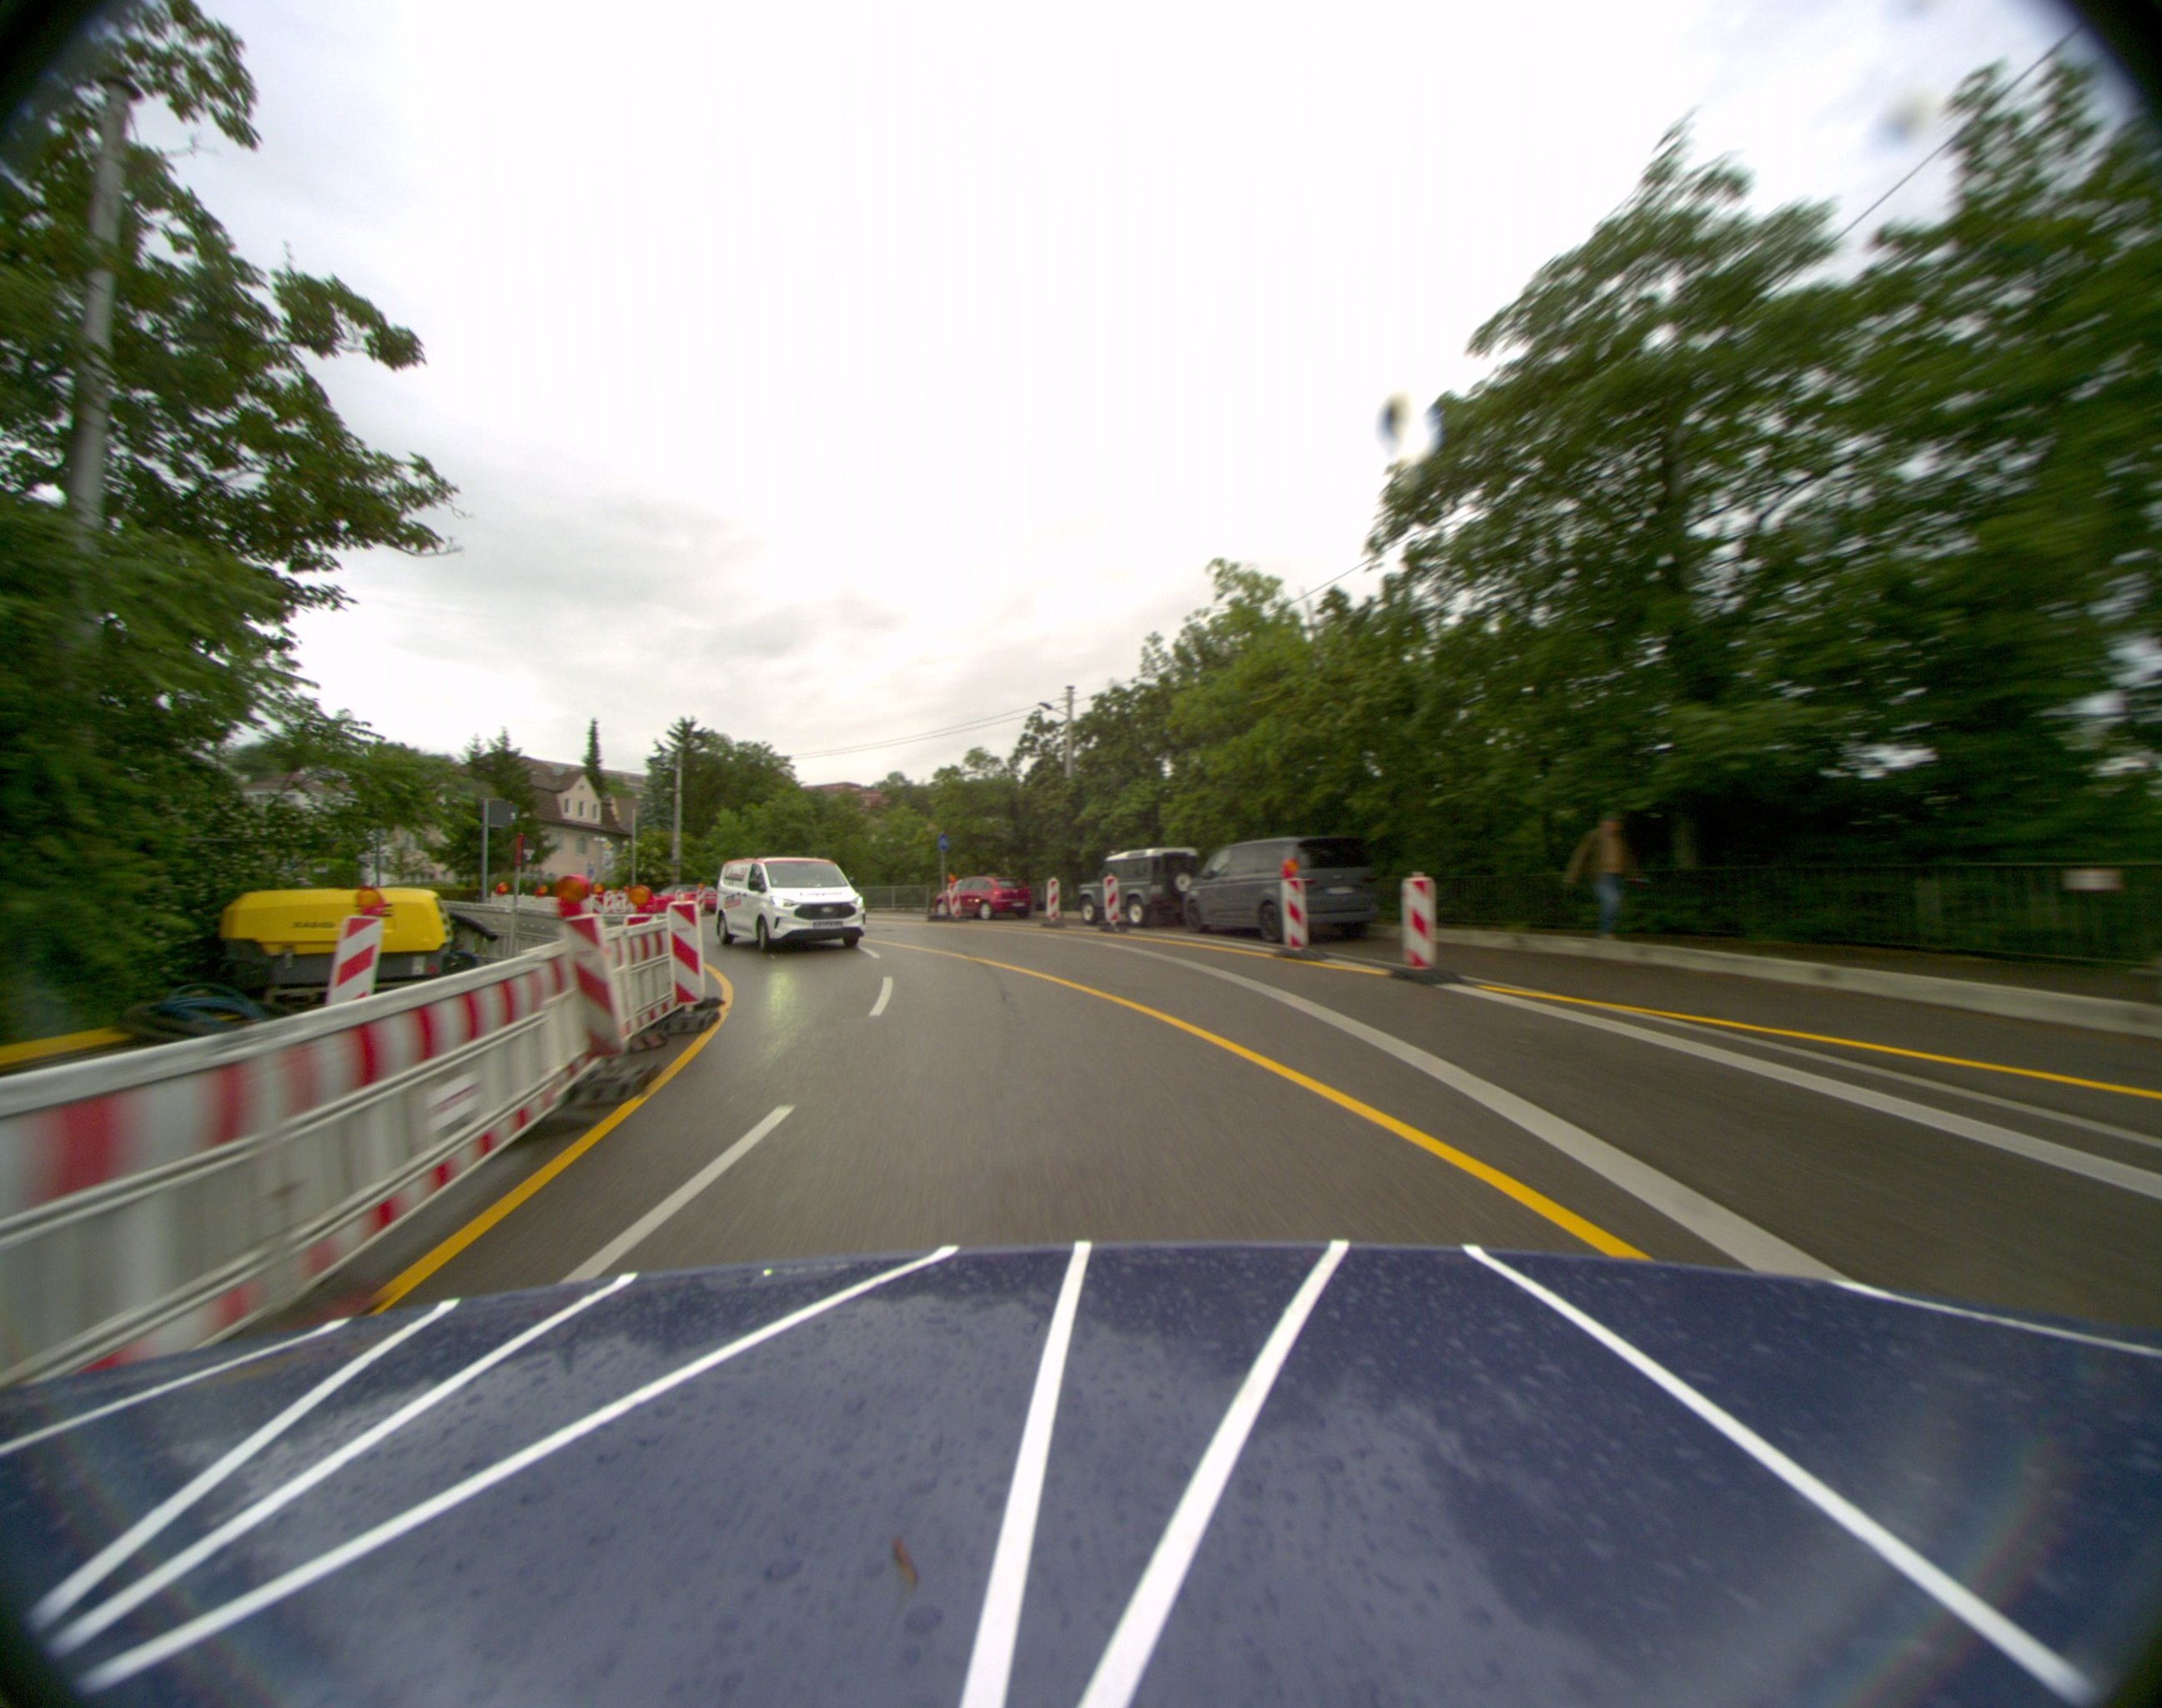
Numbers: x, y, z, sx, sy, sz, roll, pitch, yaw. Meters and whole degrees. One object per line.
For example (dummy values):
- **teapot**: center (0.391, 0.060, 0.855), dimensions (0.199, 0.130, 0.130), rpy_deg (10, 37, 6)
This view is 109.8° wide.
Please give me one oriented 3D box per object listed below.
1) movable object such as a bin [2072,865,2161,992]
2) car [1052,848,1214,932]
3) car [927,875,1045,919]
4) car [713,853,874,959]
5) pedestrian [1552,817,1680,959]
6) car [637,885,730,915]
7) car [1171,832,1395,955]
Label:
- **movable object such as a bin**: center (9.892, 0.649, 6.691), dimensions (0.988, 1.100, 1.027), rpy_deg (-1, 0, 0)
- **car**: center (1.262, 0.966, 20.875), dimensions (1.875, 2.001, 4.802), rpy_deg (-1, -2, -33)
- **car**: center (-3.458, 1.520, 27.119), dimensions (1.971, 1.431, 4.311), rpy_deg (0, -2, -43)
- **car**: center (-6.540, 1.047, 16.920), dimensions (2.004, 2.001, 4.936), rpy_deg (1, -1, -38)
- **pedestrian**: center (7.065, 0.430, 10.080), dimensions (0.926, 1.757, 0.979), rpy_deg (-2, 0, -9)
- **car**: center (-19.242, 2.188, 36.771), dimensions (4.126, 1.389, 1.694), rpy_deg (-1, -3, 22)
- **car**: center (3.760, 0.709, 15.303), dimensions (2.001, 2.001, 4.942), rpy_deg (-2, -1, -17)
